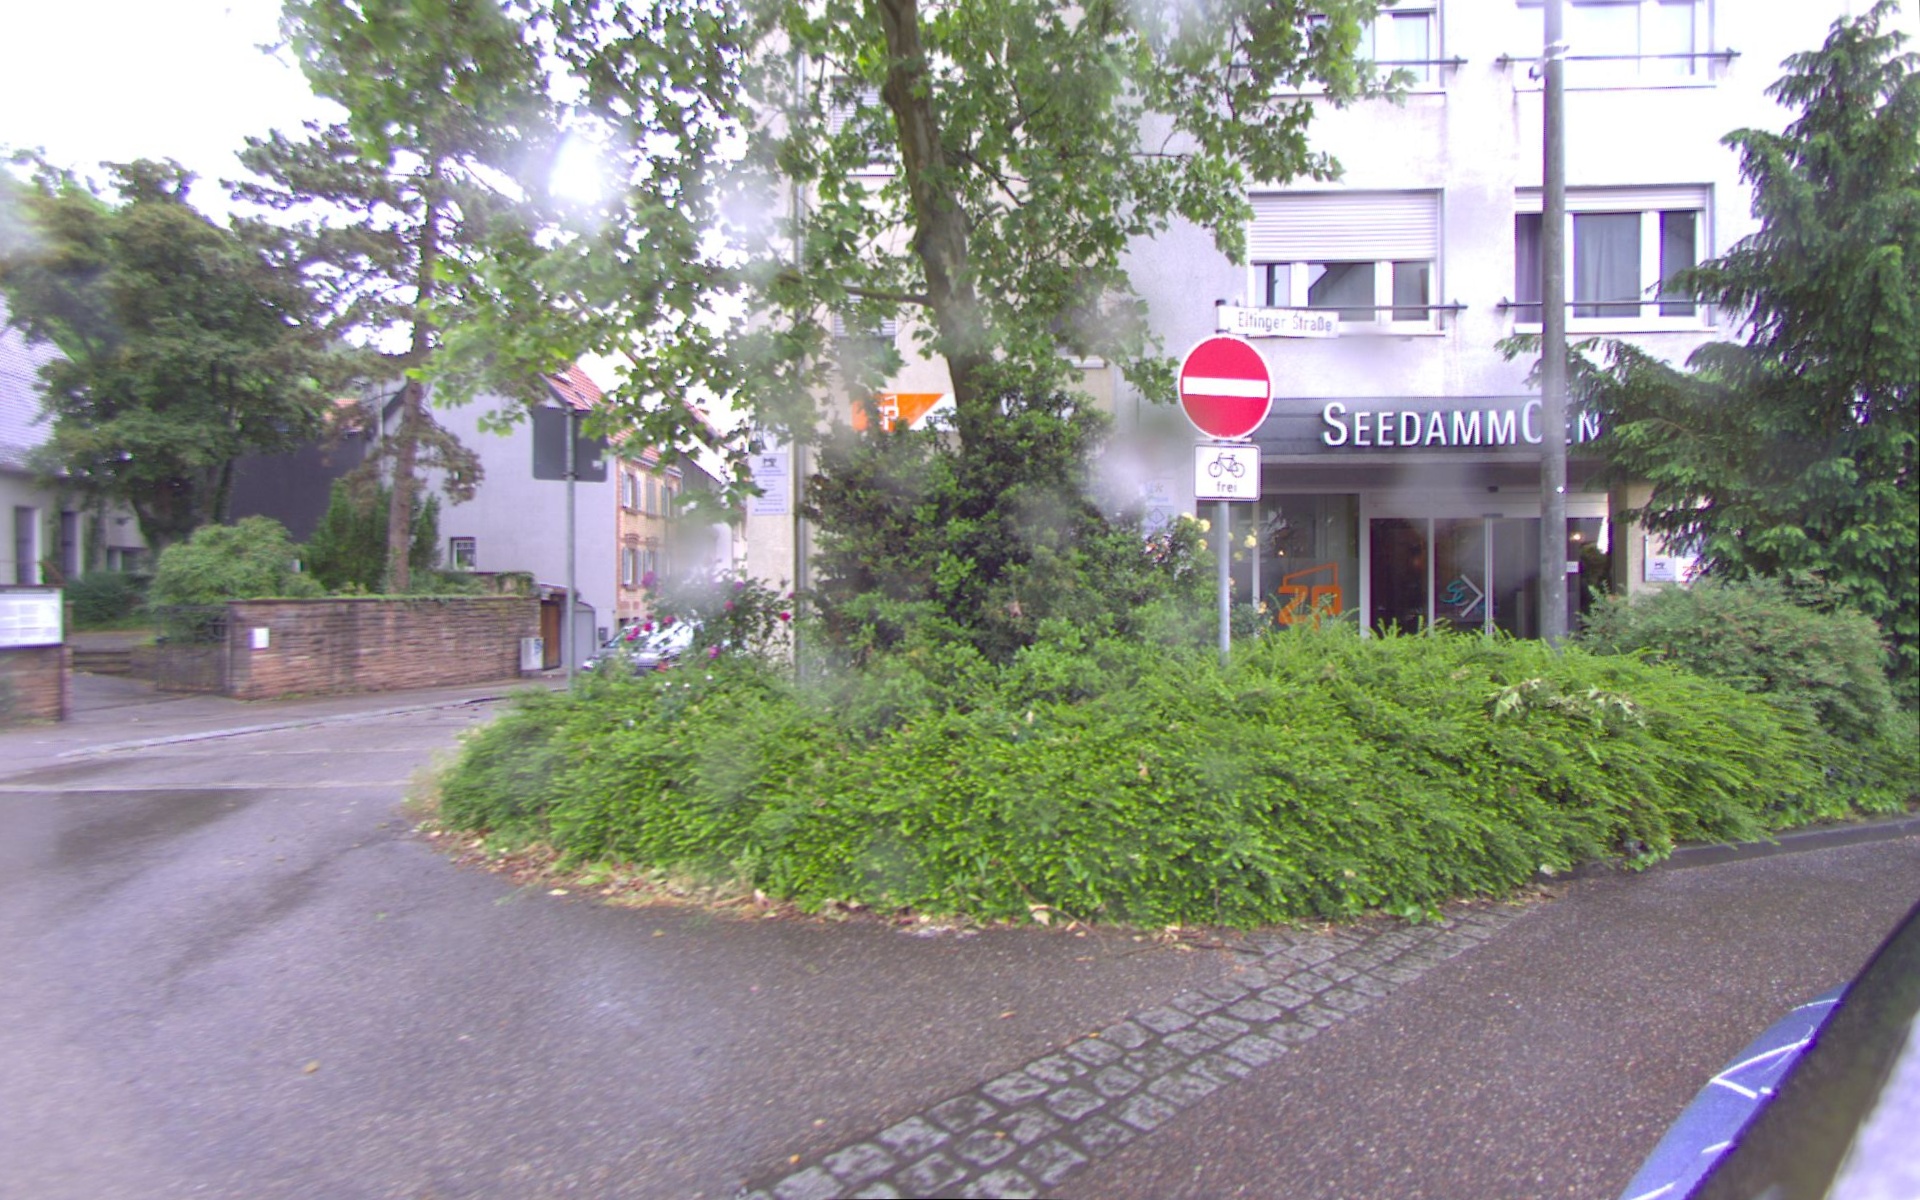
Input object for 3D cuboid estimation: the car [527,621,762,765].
[{"bbox_3d":[-5.163,1.433,17.231,1.972,1.668,3.988,13,2,10],"label":"car"}]
